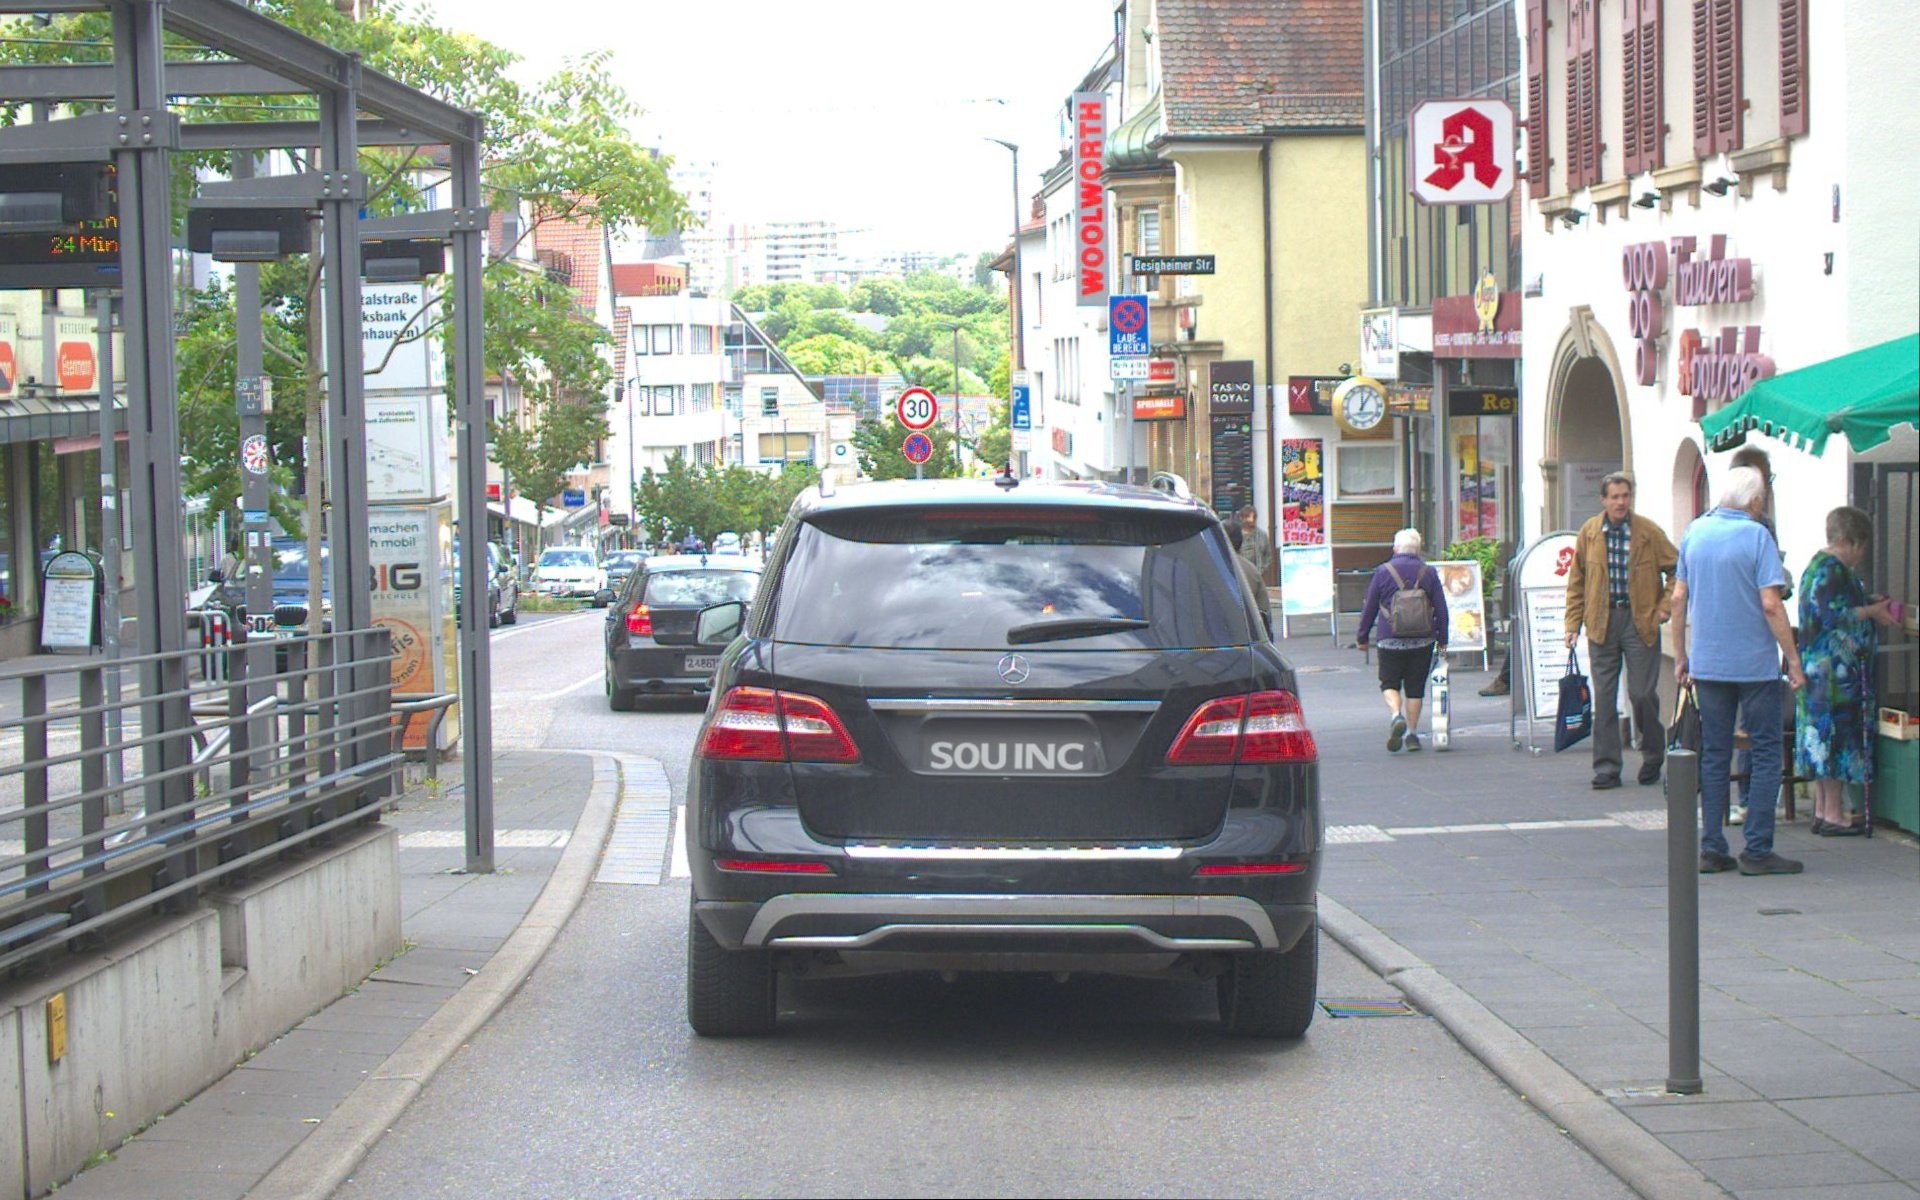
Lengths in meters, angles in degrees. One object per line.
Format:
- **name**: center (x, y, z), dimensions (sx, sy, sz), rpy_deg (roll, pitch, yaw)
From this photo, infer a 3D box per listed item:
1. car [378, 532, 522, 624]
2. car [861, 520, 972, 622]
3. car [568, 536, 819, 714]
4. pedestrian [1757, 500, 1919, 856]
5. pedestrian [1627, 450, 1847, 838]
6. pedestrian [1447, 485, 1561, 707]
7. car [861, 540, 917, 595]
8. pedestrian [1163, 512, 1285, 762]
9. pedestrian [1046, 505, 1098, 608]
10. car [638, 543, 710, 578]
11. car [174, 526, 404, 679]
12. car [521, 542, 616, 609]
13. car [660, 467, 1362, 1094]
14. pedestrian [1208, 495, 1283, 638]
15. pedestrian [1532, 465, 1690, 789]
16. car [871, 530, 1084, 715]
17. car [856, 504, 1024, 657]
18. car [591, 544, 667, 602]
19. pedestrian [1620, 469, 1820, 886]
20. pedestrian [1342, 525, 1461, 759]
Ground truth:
- **car**: center (-8.730, -0.413, 59.249), dimensions (1.926, 1.487, 4.843), rpy_deg (1, 1, -2)
- **car**: center (-0.733, -0.520, 58.662), dimensions (1.748, 1.602, 3.800), rpy_deg (-3, 1, 0)
- **car**: center (-2.577, 0.190, 32.423), dimensions (1.785, 1.535, 3.745), rpy_deg (-2, 1, -13)
- **pedestrian**: center (4.089, 0.349, 15.973), dimensions (0.623, 1.607, 0.702), rpy_deg (-1, 1, 4)
- **pedestrian**: center (3.818, 0.202, 16.900), dimensions (0.780, 1.851, 0.701), rpy_deg (0, 1, 42)
- **pedestrian**: center (4.425, -0.039, 28.019), dimensions (0.774, 1.763, 0.817), rpy_deg (-1, 1, 0)
- **car**: center (-2.641, -1.207, 126.703), dimensions (1.938, 1.885, 4.707), rpy_deg (-3, 1, -2)
- **pedestrian**: center (1.781, 0.239, 23.170), dimensions (0.772, 1.639, 0.870), rpy_deg (-1, 1, 5)
- **pedestrian**: center (1.907, -0.737, 58.679), dimensions (0.796, 1.721, 1.053), rpy_deg (-2, 1, -1)
- **car**: center (-16.288, -2.237, 195.580), dimensions (3.986, 1.744, 2.000), rpy_deg (-3, 0, -5)
- **car**: center (-8.054, -0.017, 41.669), dimensions (2.006, 1.688, 4.608), rpy_deg (0, 2, -2)
- **car**: center (-9.297, -0.611, 81.962), dimensions (1.926, 1.506, 4.262), rpy_deg (1, 1, -2)
- **car**: center (0.116, 0.463, 11.686), dimensions (1.943, 1.734, 4.179), rpy_deg (1, 1, -1)
- **pedestrian**: center (3.480, -0.412, 41.913), dimensions (0.864, 1.701, 0.945), rpy_deg (-1, 1, 5)
- **pedestrian**: center (3.694, 0.147, 19.542), dimensions (0.786, 1.795, 0.676), rpy_deg (-1, 1, 5)
- **car**: center (0.129, 0.154, 31.654), dimensions (1.803, 1.550, 3.954), rpy_deg (-2, 1, -1)
- **car**: center (-0.191, -0.281, 43.166), dimensions (1.877, 1.793, 4.732), rpy_deg (-1, 1, 2)
- **car**: center (-9.540, -0.777, 99.225), dimensions (1.926, 1.616, 4.640), rpy_deg (0, 0, -2)
- **pedestrian**: center (3.305, 0.323, 14.931), dimensions (0.701, 1.760, 0.625), rpy_deg (-1, 1, 25)
- **pedestrian**: center (2.948, 0.271, 23.006), dimensions (0.724, 1.526, 0.808), rpy_deg (-1, 1, 5)
